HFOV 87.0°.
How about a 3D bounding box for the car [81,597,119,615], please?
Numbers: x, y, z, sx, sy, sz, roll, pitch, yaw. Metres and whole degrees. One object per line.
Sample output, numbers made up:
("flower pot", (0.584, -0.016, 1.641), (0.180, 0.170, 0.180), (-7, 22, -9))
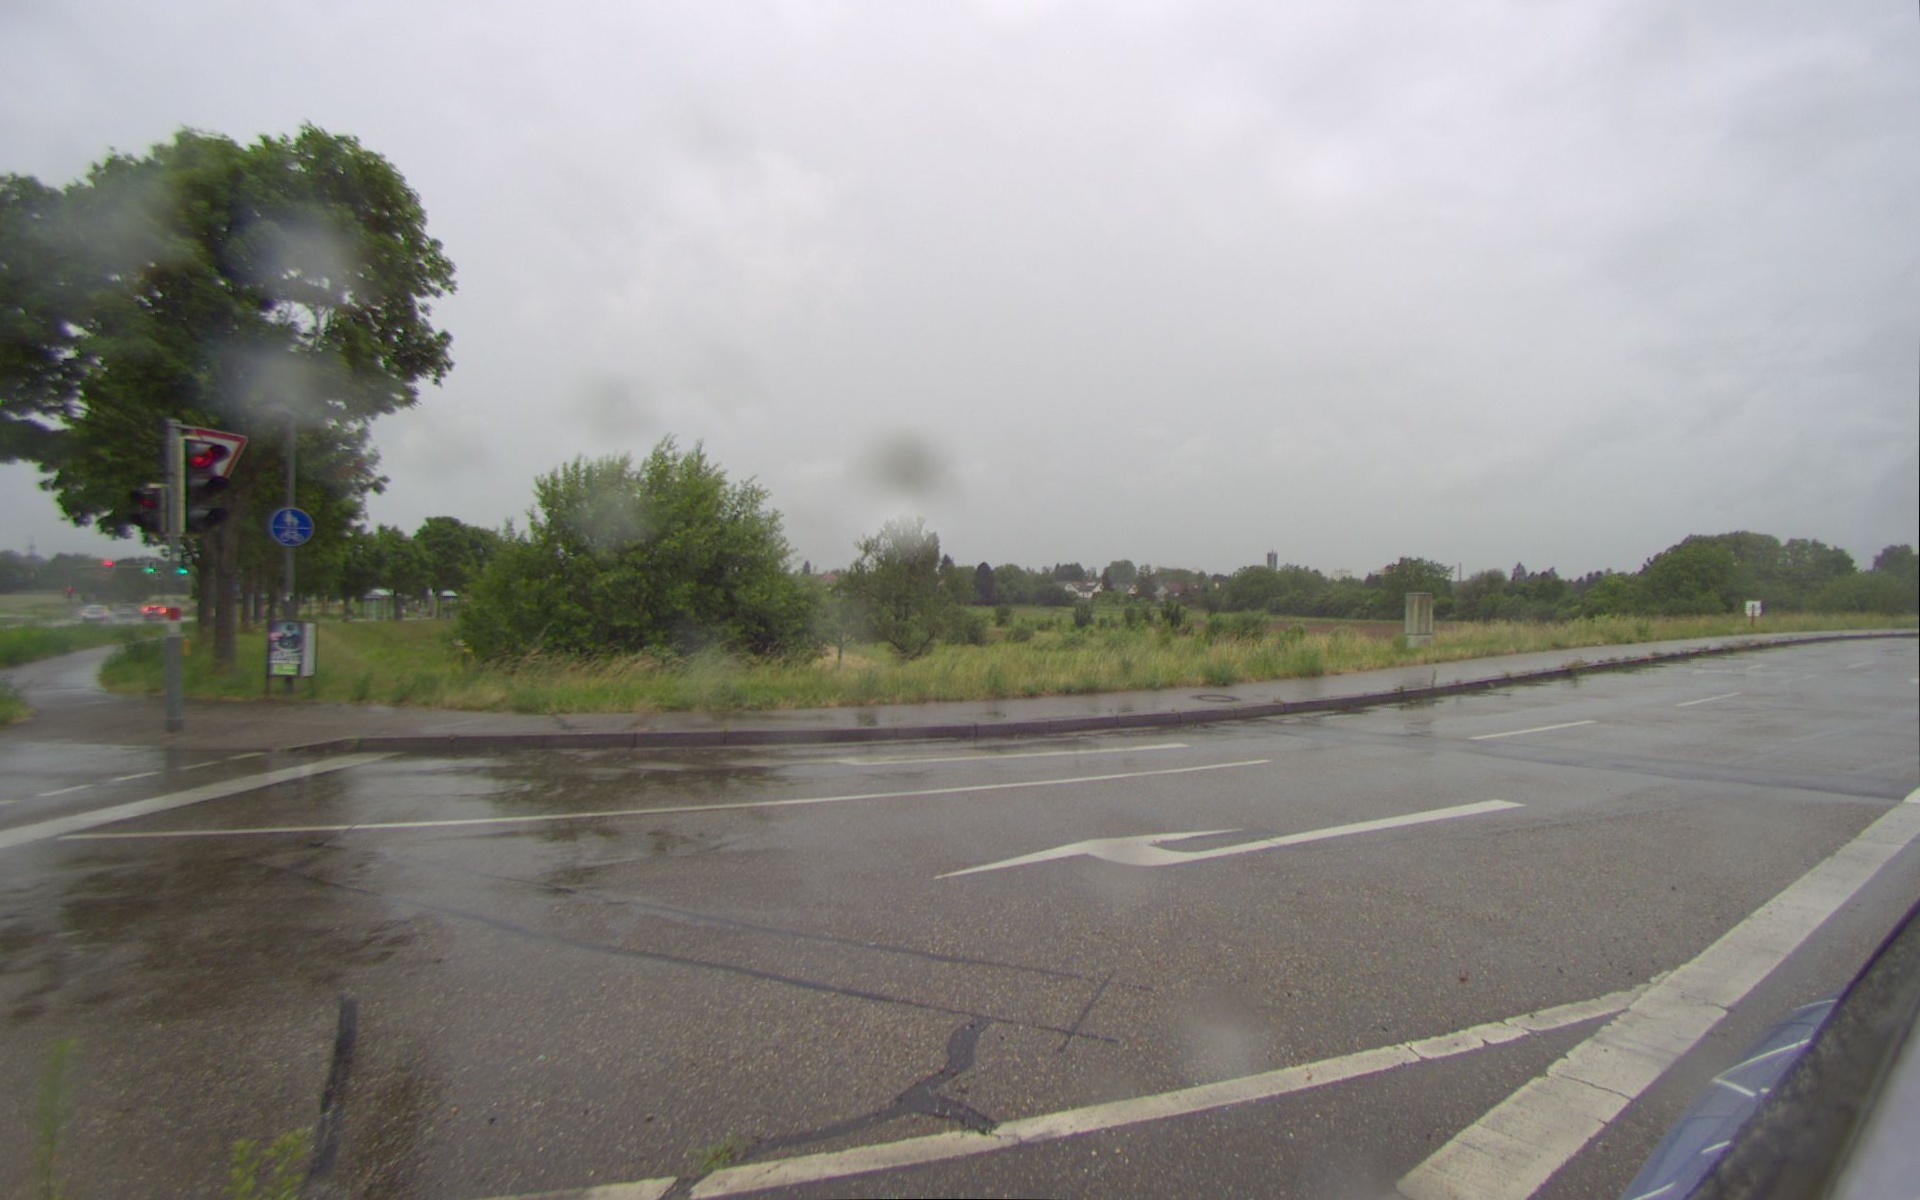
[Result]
("car", (-70.710, 0.496, 83.300), (1.843, 1.371, 4.054), (0, 1, -33))

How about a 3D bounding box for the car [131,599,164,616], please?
("car", (-73.931, 0.668, 92.096), (1.843, 1.371, 4.055), (0, 1, -32))
